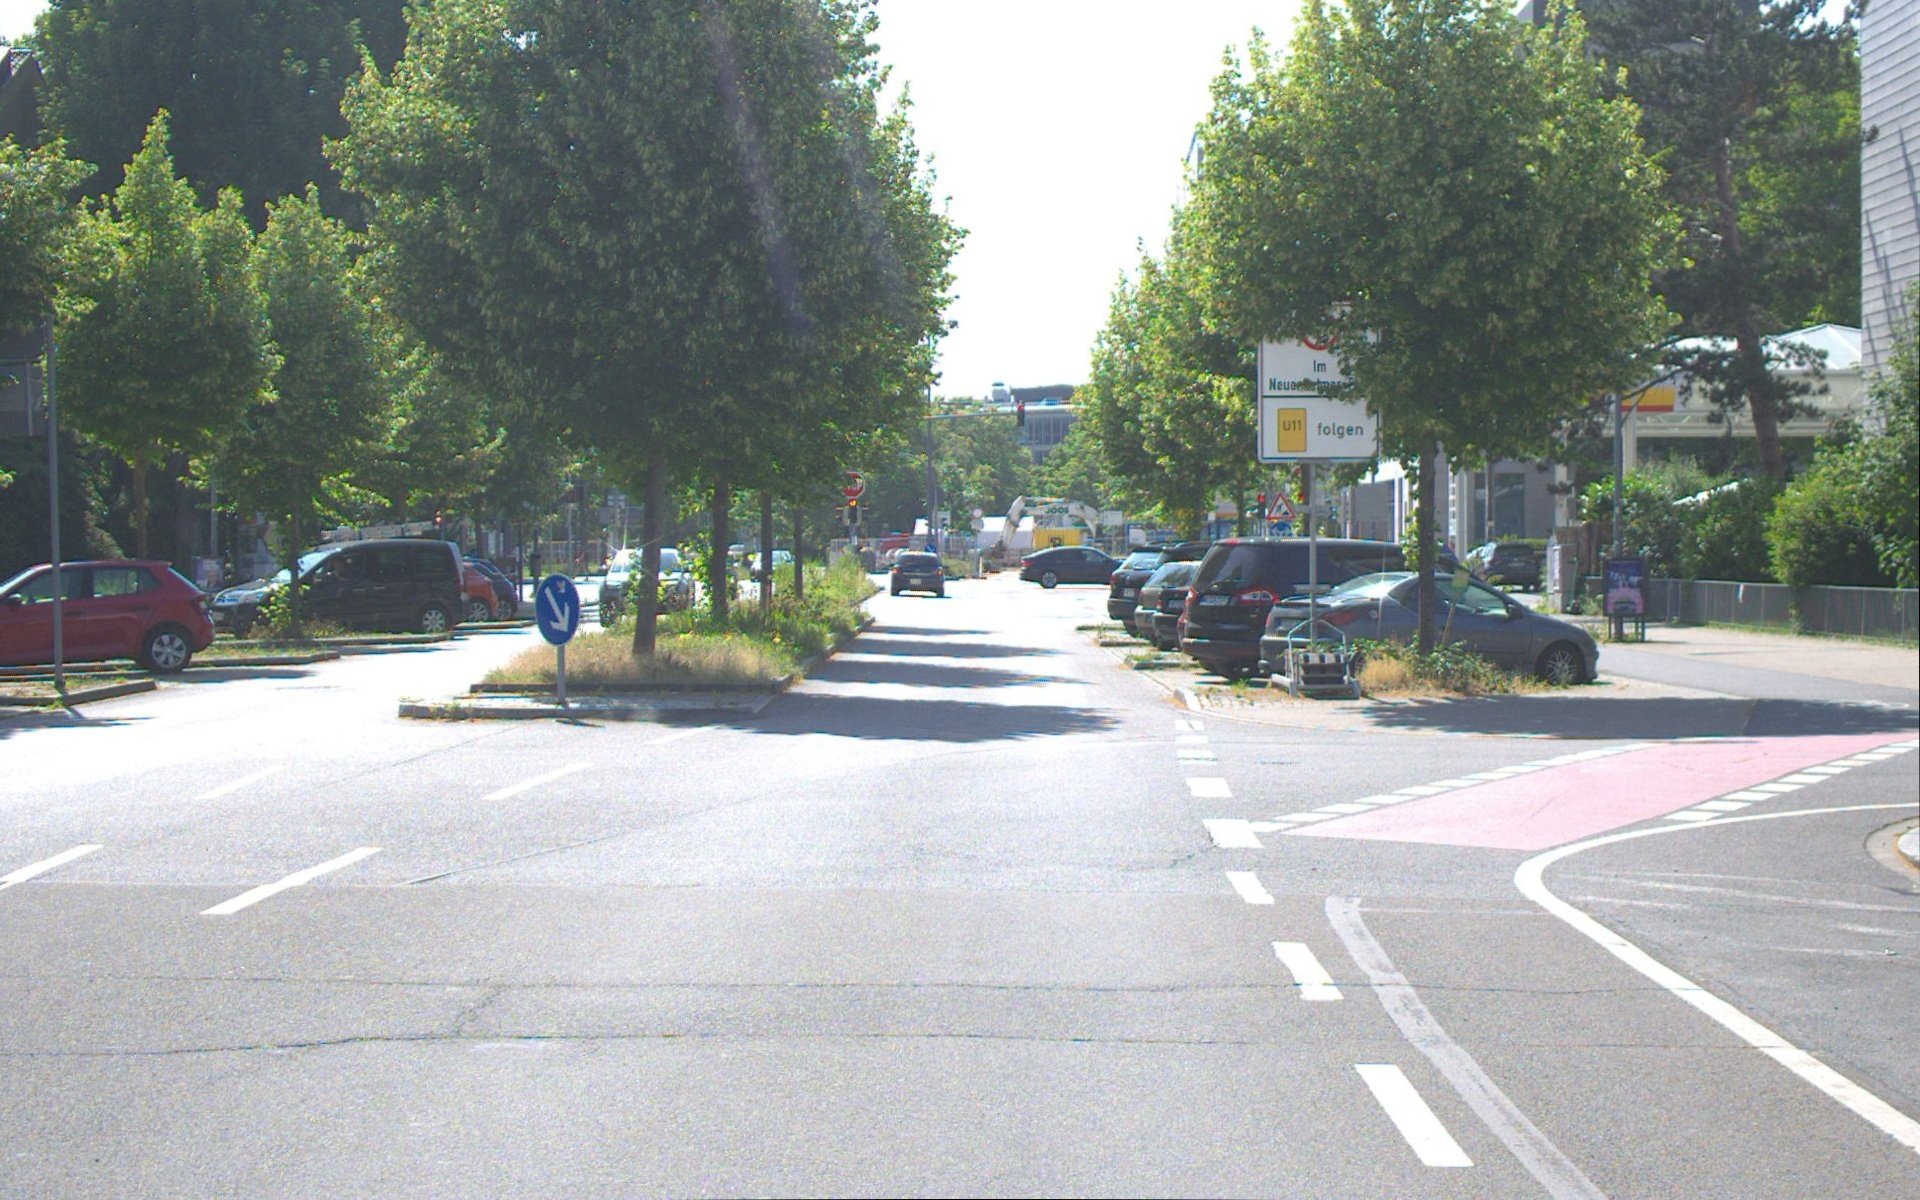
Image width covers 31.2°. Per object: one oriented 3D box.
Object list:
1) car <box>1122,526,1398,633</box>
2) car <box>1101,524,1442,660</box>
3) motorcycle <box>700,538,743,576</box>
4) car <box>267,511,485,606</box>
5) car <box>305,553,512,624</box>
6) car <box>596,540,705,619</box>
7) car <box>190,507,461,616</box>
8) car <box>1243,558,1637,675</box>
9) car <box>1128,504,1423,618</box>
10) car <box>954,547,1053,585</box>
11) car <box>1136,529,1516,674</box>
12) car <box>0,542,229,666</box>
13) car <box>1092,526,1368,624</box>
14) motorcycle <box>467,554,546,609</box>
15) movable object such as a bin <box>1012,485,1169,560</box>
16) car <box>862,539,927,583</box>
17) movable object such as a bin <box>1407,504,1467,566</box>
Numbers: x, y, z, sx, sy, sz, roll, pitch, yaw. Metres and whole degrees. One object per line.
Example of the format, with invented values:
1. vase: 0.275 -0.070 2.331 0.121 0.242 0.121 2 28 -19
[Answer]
1. car: 4.700 -0.328 54.039 3.986 1.634 1.753 0 1 -12
2. car: 3.960 -0.092 43.524 3.987 1.634 1.880 0 -1 -34
3. motorcycle: -6.364 -1.152 91.974 0.923 0.989 2.235 0 1 2
4. car: -11.190 -0.795 65.925 3.761 1.766 1.819 0 1 -26
5. car: -11.331 -0.248 70.708 3.830 1.418 1.715 0 1 -35
6. car: -6.291 -0.427 70.259 1.741 1.542 4.073 -1 1 1
7. car: -11.036 -0.705 59.875 4.176 1.810 2.004 -2 2 -37
8. car: 5.284 0.153 37.864 3.986 1.232 1.753 0 1 -25
9. car: 4.687 -0.596 51.099 3.986 1.634 1.753 0 2 -21
10. car: 1.619 -1.274 127.882 3.602 1.372 1.638 0 1 -2
11. car: 4.351 -0.013 40.723 4.107 1.634 2.044 0 1 -33
12. car: -11.508 0.042 43.882 3.986 1.461 2.001 -2 2 -20
13. car: 4.749 -0.454 60.151 4.731 1.654 1.753 0 1 -33
14. motorcycle: -10.780 -0.443 81.749 1.845 1.280 0.693 0 1 -6
15. movable object such as a bin: 8.134 -4.824 214.481 9.676 4.534 3.164 0 1 2
16. car: -2.152 -1.271 112.070 1.993 1.393 4.001 0 1 -3
17. movable object such as a bin: 12.770 -1.746 92.145 1.307 1.586 1.396 -2 1 -2
